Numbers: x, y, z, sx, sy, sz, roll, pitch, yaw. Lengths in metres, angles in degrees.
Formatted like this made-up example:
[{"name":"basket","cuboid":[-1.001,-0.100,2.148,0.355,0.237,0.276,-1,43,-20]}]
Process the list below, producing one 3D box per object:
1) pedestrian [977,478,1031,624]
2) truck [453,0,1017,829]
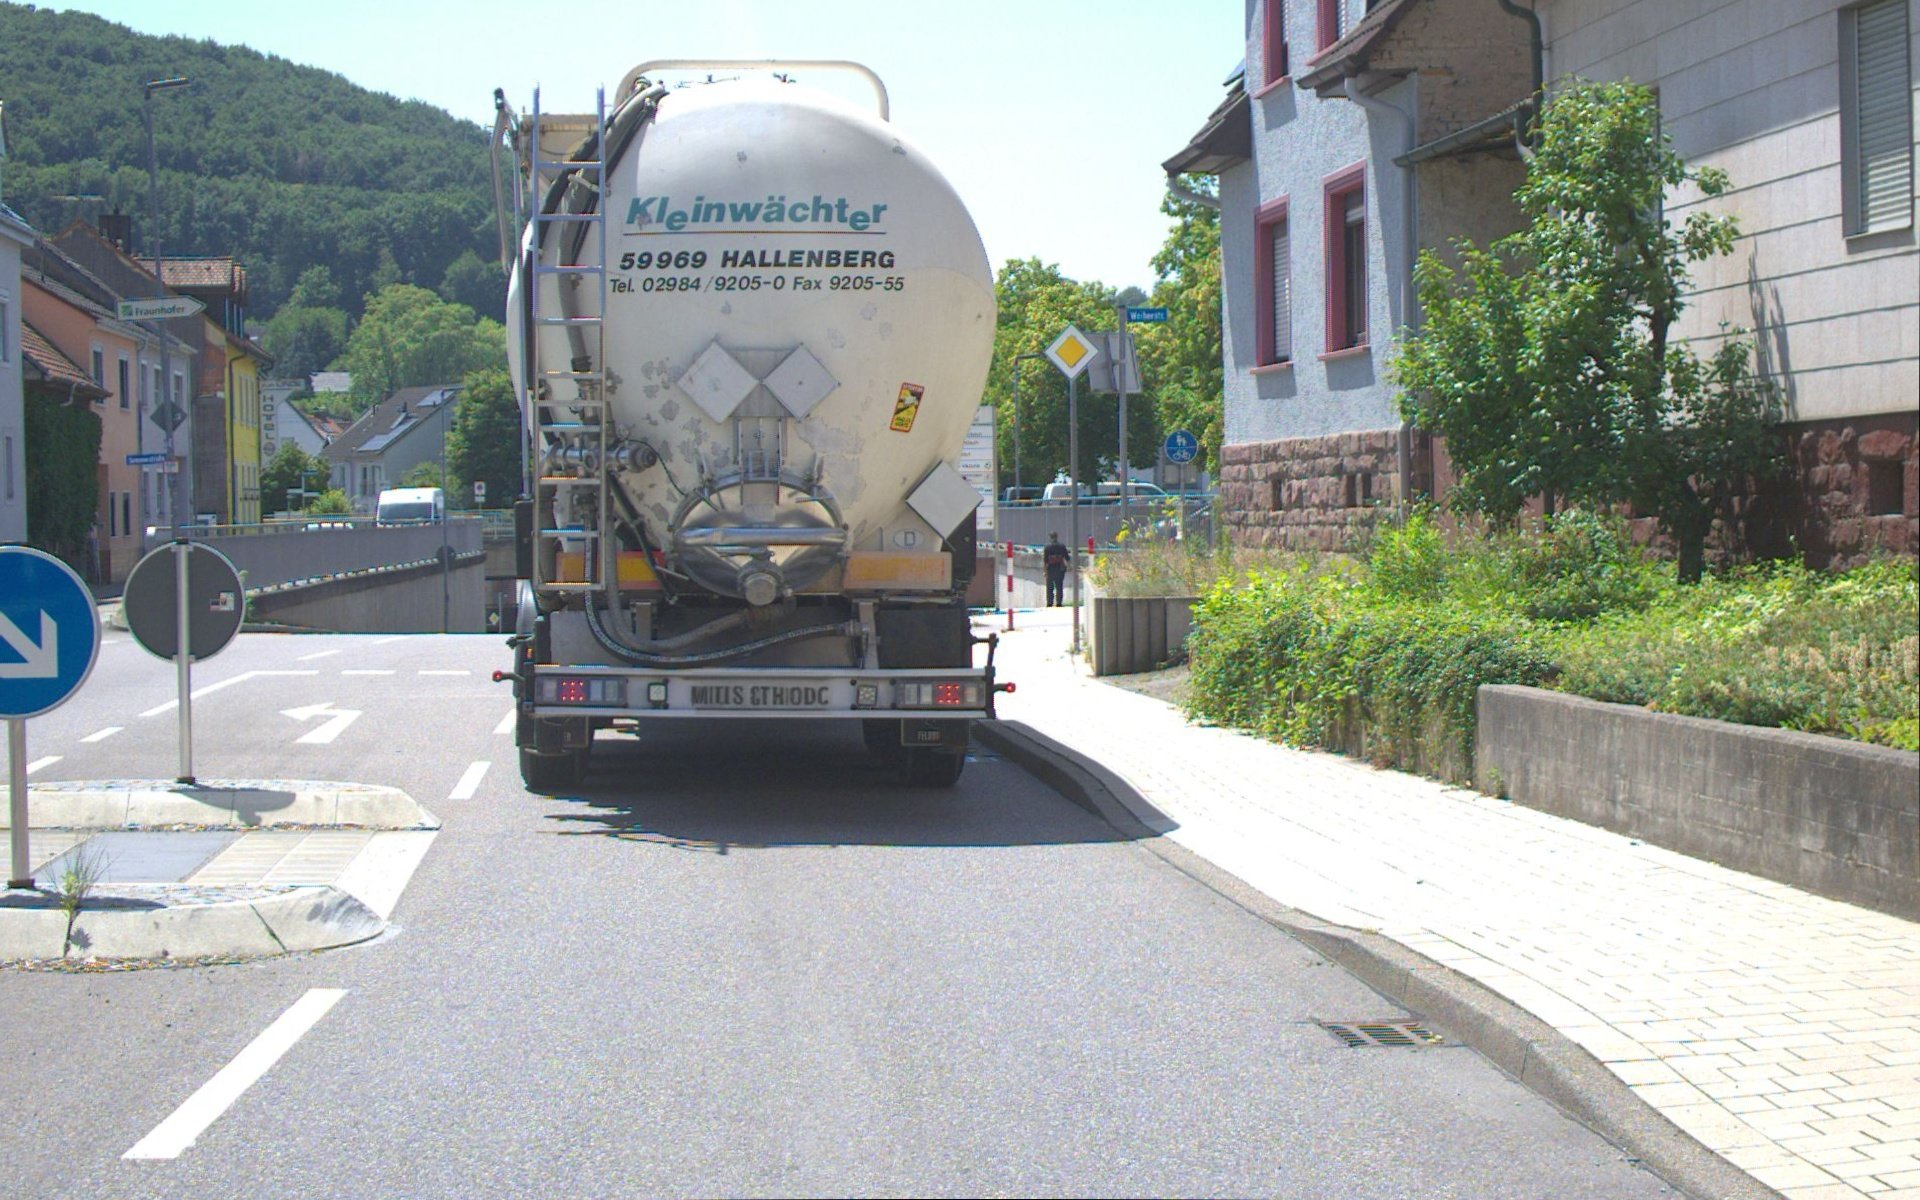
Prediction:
[{"name":"pedestrian","cuboid":[0.512,-0.575,40.349,0.571,1.688,0.721,1,0,-2]},{"name":"truck","cuboid":[-1.747,-1.045,22.221,2.749,4.043,10.892,0,1,-7]}]
